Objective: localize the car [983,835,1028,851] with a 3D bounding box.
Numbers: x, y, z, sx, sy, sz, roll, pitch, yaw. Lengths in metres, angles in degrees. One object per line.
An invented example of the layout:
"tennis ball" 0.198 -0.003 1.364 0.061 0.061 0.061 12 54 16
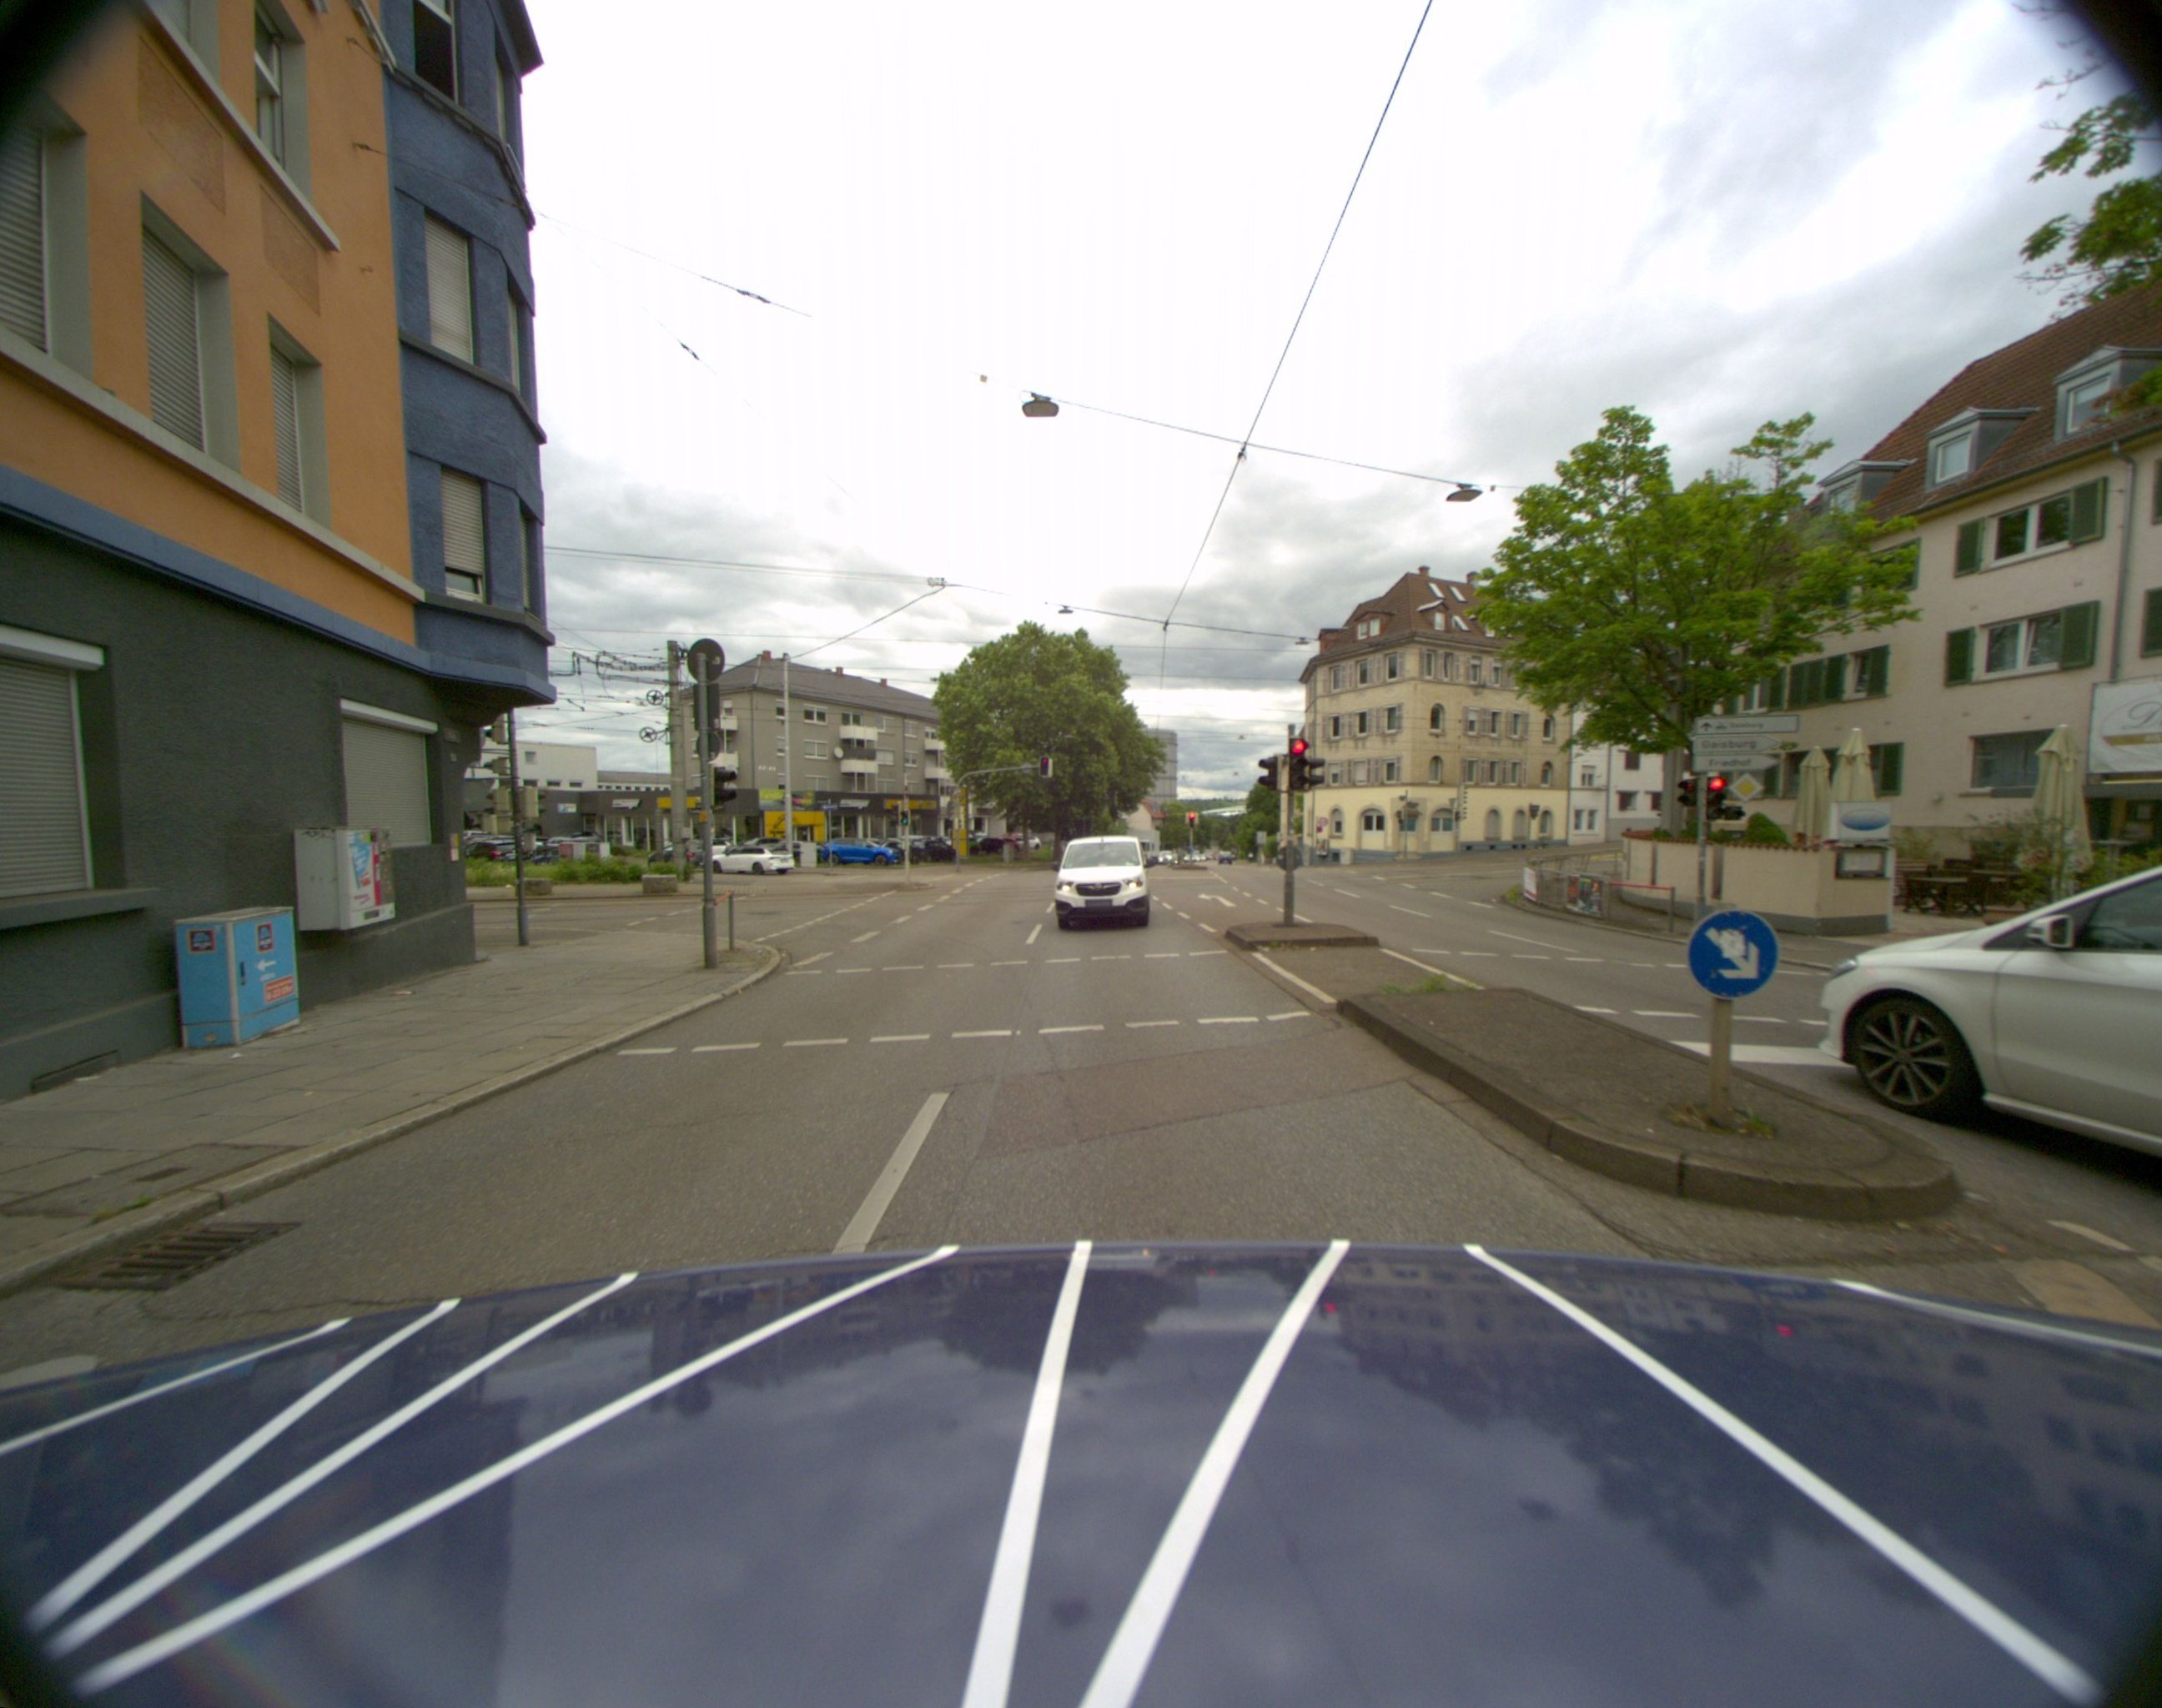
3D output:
"car" -7.354 -1.047 74.085 4.007 1.496 1.858 0 2 -34

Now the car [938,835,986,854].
"car" -9.959 -0.797 63.444 3.616 1.544 1.617 0 1 -27

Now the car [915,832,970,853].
"car" -11.083 -0.927 60.896 3.994 1.541 1.864 1 1 7

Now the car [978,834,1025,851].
"car" -7.436 -1.065 71.391 4.008 1.496 1.858 0 2 -36

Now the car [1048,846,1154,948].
"car" 0.526 0.808 16.233 1.887 1.827 4.678 -2 0 4

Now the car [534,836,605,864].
"car" -30.965 -0.263 46.017 4.129 1.526 1.922 2 1 30

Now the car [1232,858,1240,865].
"car" 39.528 1.928 193.848 1.996 1.590 4.004 -1 0 13

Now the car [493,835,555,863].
"car" -35.811 -0.339 48.843 4.128 1.636 1.922 2 1 34

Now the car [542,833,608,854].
"car" -38.942 -0.826 58.520 1.714 1.526 3.903 2 1 39

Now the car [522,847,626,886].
"car" -22.443 0.501 33.652 4.130 1.526 1.921 2 1 24

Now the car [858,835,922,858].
"car" -13.575 -0.564 54.198 3.993 1.541 1.864 1 1 12

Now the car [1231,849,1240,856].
"car" 37.235 -0.332 183.038 1.996 1.590 4.004 -1 0 13

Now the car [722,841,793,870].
"car" -20.717 0.065 48.840 1.709 1.770 4.252 2 1 20

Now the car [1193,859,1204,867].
"car" 24.829 1.849 160.180 1.996 1.590 4.004 -1 0 13

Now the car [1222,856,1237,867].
"car" 19.208 0.948 98.009 1.757 1.439 3.755 -1 1 13

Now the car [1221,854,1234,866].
"car" 23.150 0.951 120.300 1.868 1.873 4.288 2 1 10

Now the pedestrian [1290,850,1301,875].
"pedestrian" 17.255 0.665 61.118 0.746 1.925 0.904 -3 0 11

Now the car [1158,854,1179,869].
"car" 10.561 0.902 91.303 1.996 1.620 4.413 -1 0 13

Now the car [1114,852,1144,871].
"car" 4.113 0.627 64.427 1.997 1.457 4.412 -1 0 10

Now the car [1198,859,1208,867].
"car" 28.117 2.056 174.758 1.996 1.590 4.004 -1 0 13

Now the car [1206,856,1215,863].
"car" 34.770 1.469 203.678 1.996 1.590 4.004 -1 0 13

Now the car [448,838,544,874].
"car" -27.775 0.079 36.053 4.130 1.526 1.922 2 1 25

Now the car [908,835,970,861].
"car" -9.983 -0.392 53.646 1.823 1.599 4.178 8 3 33

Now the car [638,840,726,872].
"car" -21.196 0.094 40.356 4.131 1.526 1.921 2 1 22

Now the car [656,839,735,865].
"car" -24.219 -0.131 47.851 1.789 1.526 4.126 2 1 29

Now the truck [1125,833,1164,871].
"truck" 6.322 -0.235 74.499 2.769 3.482 8.177 -1 0 11

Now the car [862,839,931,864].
"car" -11.575 -0.122 47.817 1.824 1.468 4.009 2 0 34

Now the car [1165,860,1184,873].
"car" 12.305 1.646 99.606 1.996 1.620 4.413 -1 0 13

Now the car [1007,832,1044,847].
"car" -5.896 -1.549 80.679 3.625 1.496 1.786 0 2 -42

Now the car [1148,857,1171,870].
"car" 8.635 0.984 83.220 1.916 1.291 4.413 -1 0 12

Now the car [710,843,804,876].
"car" -16.363 0.239 38.382 4.131 1.526 1.921 2 1 21

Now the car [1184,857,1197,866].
"car" 20.001 1.361 138.364 1.996 1.590 4.004 -1 0 13

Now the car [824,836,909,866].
"car" -12.214 -0.185 43.485 4.255 1.568 1.830 2 0 2

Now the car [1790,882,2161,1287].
"car" 5.151 0.974 2.559 1.779 1.538 4.327 2 0 7
